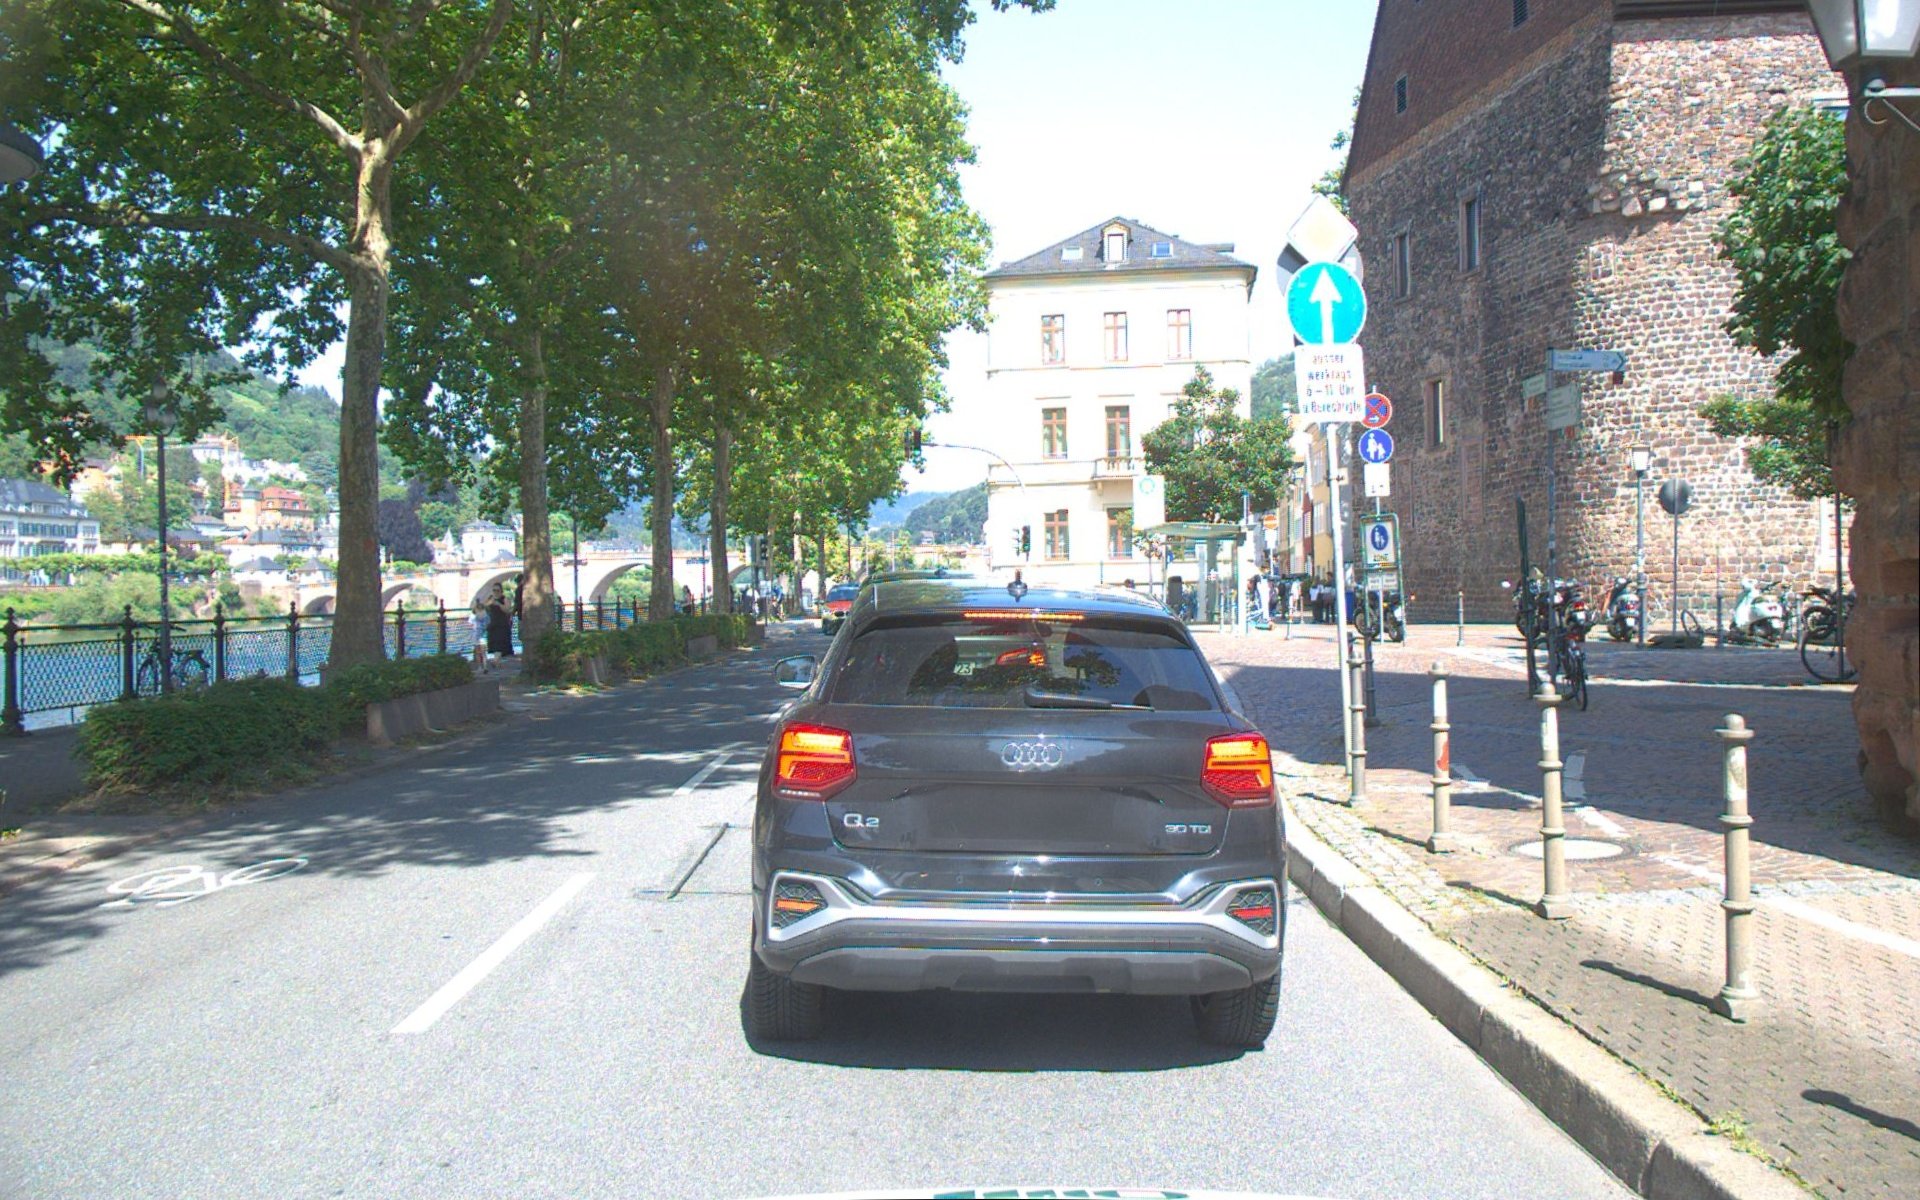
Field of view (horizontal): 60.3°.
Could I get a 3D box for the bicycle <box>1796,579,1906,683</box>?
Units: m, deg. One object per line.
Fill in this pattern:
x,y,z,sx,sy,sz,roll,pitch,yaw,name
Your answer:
10.619,0.342,19.768,0.437,1.182,1.731,-1,1,3,bicycle

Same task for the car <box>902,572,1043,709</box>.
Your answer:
0.120,0.468,21.540,1.676,1.637,3.654,0,0,-1,car

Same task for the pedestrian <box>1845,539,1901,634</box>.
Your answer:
19.806,-0.290,35.899,0.856,2.049,0.733,1,-1,9,pedestrian

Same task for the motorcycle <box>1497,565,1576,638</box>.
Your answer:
10.501,0.031,30.187,0.642,1.288,2.199,0,0,-1,motorcycle

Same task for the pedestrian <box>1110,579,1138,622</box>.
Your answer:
4.773,0.027,48.155,0.651,1.233,0.640,1,-1,-7,pedestrian

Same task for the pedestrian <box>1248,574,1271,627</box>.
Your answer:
13.501,0.028,74.566,0.861,2.399,0.745,1,-1,21,pedestrian

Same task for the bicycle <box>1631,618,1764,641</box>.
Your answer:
12.319,0.492,27.682,1.887,0.388,0.918,0,-1,14,bicycle

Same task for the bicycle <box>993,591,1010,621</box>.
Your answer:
1.558,0.241,62.417,0.428,1.105,1.675,1,0,-5,bicycle

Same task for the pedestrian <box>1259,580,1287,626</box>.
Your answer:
10.263,0.106,54.235,0.626,1.469,0.797,-2,0,-7,pedestrian

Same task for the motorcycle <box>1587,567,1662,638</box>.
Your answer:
12.277,0.048,30.611,0.535,1.257,2.030,1,0,-1,motorcycle

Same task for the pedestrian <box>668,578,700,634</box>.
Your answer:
-9.208,0.195,55.180,0.891,1.843,0.586,1,-1,3,pedestrian

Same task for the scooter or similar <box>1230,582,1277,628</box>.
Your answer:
7.011,0.123,39.532,1.067,1.084,0.323,1,-1,-3,scooter or similar

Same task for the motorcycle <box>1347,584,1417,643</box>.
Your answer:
7.696,0.228,30.257,0.555,1.030,2.489,-1,1,-2,motorcycle

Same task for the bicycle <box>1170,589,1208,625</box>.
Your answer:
6.797,0.213,49.065,1.184,1.053,0.178,1,-1,-20,bicycle

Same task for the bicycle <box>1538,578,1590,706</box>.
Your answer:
6.153,0.397,16.889,0.189,1.225,1.771,0,1,10,bicycle

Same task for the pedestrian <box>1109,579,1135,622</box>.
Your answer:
4.787,0.005,48.924,0.651,1.253,0.640,1,-1,-7,pedestrian

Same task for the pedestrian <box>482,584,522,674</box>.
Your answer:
-8.867,0.551,32.054,0.589,1.715,0.583,-1,0,-2,pedestrian

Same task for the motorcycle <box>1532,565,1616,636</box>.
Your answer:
11.339,0.013,30.629,0.661,1.257,2.312,1,0,-1,motorcycle

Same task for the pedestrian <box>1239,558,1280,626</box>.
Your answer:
7.567,-0.201,41.760,0.646,1.691,0.803,-1,0,-27,pedestrian

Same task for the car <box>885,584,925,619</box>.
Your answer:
-2.994,0.076,90.455,1.952,1.838,4.000,1,0,1,car

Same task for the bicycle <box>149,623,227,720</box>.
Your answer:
-9.530,0.867,20.453,0.352,1.110,1.295,2,0,-2,bicycle

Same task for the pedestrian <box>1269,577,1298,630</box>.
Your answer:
12.750,0.136,65.178,0.921,2.049,0.807,1,-1,-4,pedestrian

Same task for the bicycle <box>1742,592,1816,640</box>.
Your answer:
15.131,0.289,30.611,0.346,0.835,1.926,1,1,-2,bicycle

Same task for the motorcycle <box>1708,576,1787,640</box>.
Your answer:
14.040,0.144,29.537,0.496,1.092,1.840,1,0,-1,motorcycle

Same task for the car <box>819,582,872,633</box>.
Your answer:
-4.163,0.238,60.434,1.639,1.689,4.222,-3,0,-1,car

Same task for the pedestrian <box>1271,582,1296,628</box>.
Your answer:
14.504,0.227,74.202,0.925,2.049,0.807,1,-1,-1,pedestrian

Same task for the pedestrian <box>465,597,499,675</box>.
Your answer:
-8.594,0.646,29.745,0.469,1.386,0.417,-1,0,3,pedestrian

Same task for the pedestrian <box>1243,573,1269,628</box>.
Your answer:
7.659,0.011,42.810,0.546,1.409,0.588,1,-1,1,pedestrian

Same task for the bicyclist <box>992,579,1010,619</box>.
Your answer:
1.560,-0.037,62.464,0.593,1.475,0.590,1,-1,-6,bicyclist

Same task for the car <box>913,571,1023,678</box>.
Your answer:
0.096,0.379,28.622,1.758,1.711,3.999,1,0,-1,car

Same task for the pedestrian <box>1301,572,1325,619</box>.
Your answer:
12.476,-0.159,58.491,0.595,1.647,0.710,-3,0,-1,pedestrian

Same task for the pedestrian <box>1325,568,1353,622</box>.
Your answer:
13.655,-0.175,59.618,0.735,1.923,0.749,-2,0,-3,pedestrian

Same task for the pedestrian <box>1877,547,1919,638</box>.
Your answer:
19.493,-0.155,34.156,0.649,1.834,0.833,0,0,-43,pedestrian

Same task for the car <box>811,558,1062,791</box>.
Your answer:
-0.190,0.516,13.434,1.756,1.623,3.398,1,0,-1,car

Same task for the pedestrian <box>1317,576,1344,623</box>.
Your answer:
13.080,-0.027,58.366,0.677,1.640,0.891,-2,0,-1,pedestrian

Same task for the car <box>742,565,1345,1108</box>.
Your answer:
0.217,0.663,6.578,1.707,1.535,3.646,1,1,-1,car

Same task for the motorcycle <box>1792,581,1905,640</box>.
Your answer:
16.820,0.192,31.320,1.826,1.072,0.480,1,-1,7,motorcycle

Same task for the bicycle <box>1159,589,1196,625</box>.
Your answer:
6.534,0.212,49.686,1.166,1.033,0.178,1,-1,-20,bicycle

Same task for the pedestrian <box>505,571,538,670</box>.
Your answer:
-8.627,0.403,32.568,0.523,1.920,0.436,1,0,-1,pedestrian
